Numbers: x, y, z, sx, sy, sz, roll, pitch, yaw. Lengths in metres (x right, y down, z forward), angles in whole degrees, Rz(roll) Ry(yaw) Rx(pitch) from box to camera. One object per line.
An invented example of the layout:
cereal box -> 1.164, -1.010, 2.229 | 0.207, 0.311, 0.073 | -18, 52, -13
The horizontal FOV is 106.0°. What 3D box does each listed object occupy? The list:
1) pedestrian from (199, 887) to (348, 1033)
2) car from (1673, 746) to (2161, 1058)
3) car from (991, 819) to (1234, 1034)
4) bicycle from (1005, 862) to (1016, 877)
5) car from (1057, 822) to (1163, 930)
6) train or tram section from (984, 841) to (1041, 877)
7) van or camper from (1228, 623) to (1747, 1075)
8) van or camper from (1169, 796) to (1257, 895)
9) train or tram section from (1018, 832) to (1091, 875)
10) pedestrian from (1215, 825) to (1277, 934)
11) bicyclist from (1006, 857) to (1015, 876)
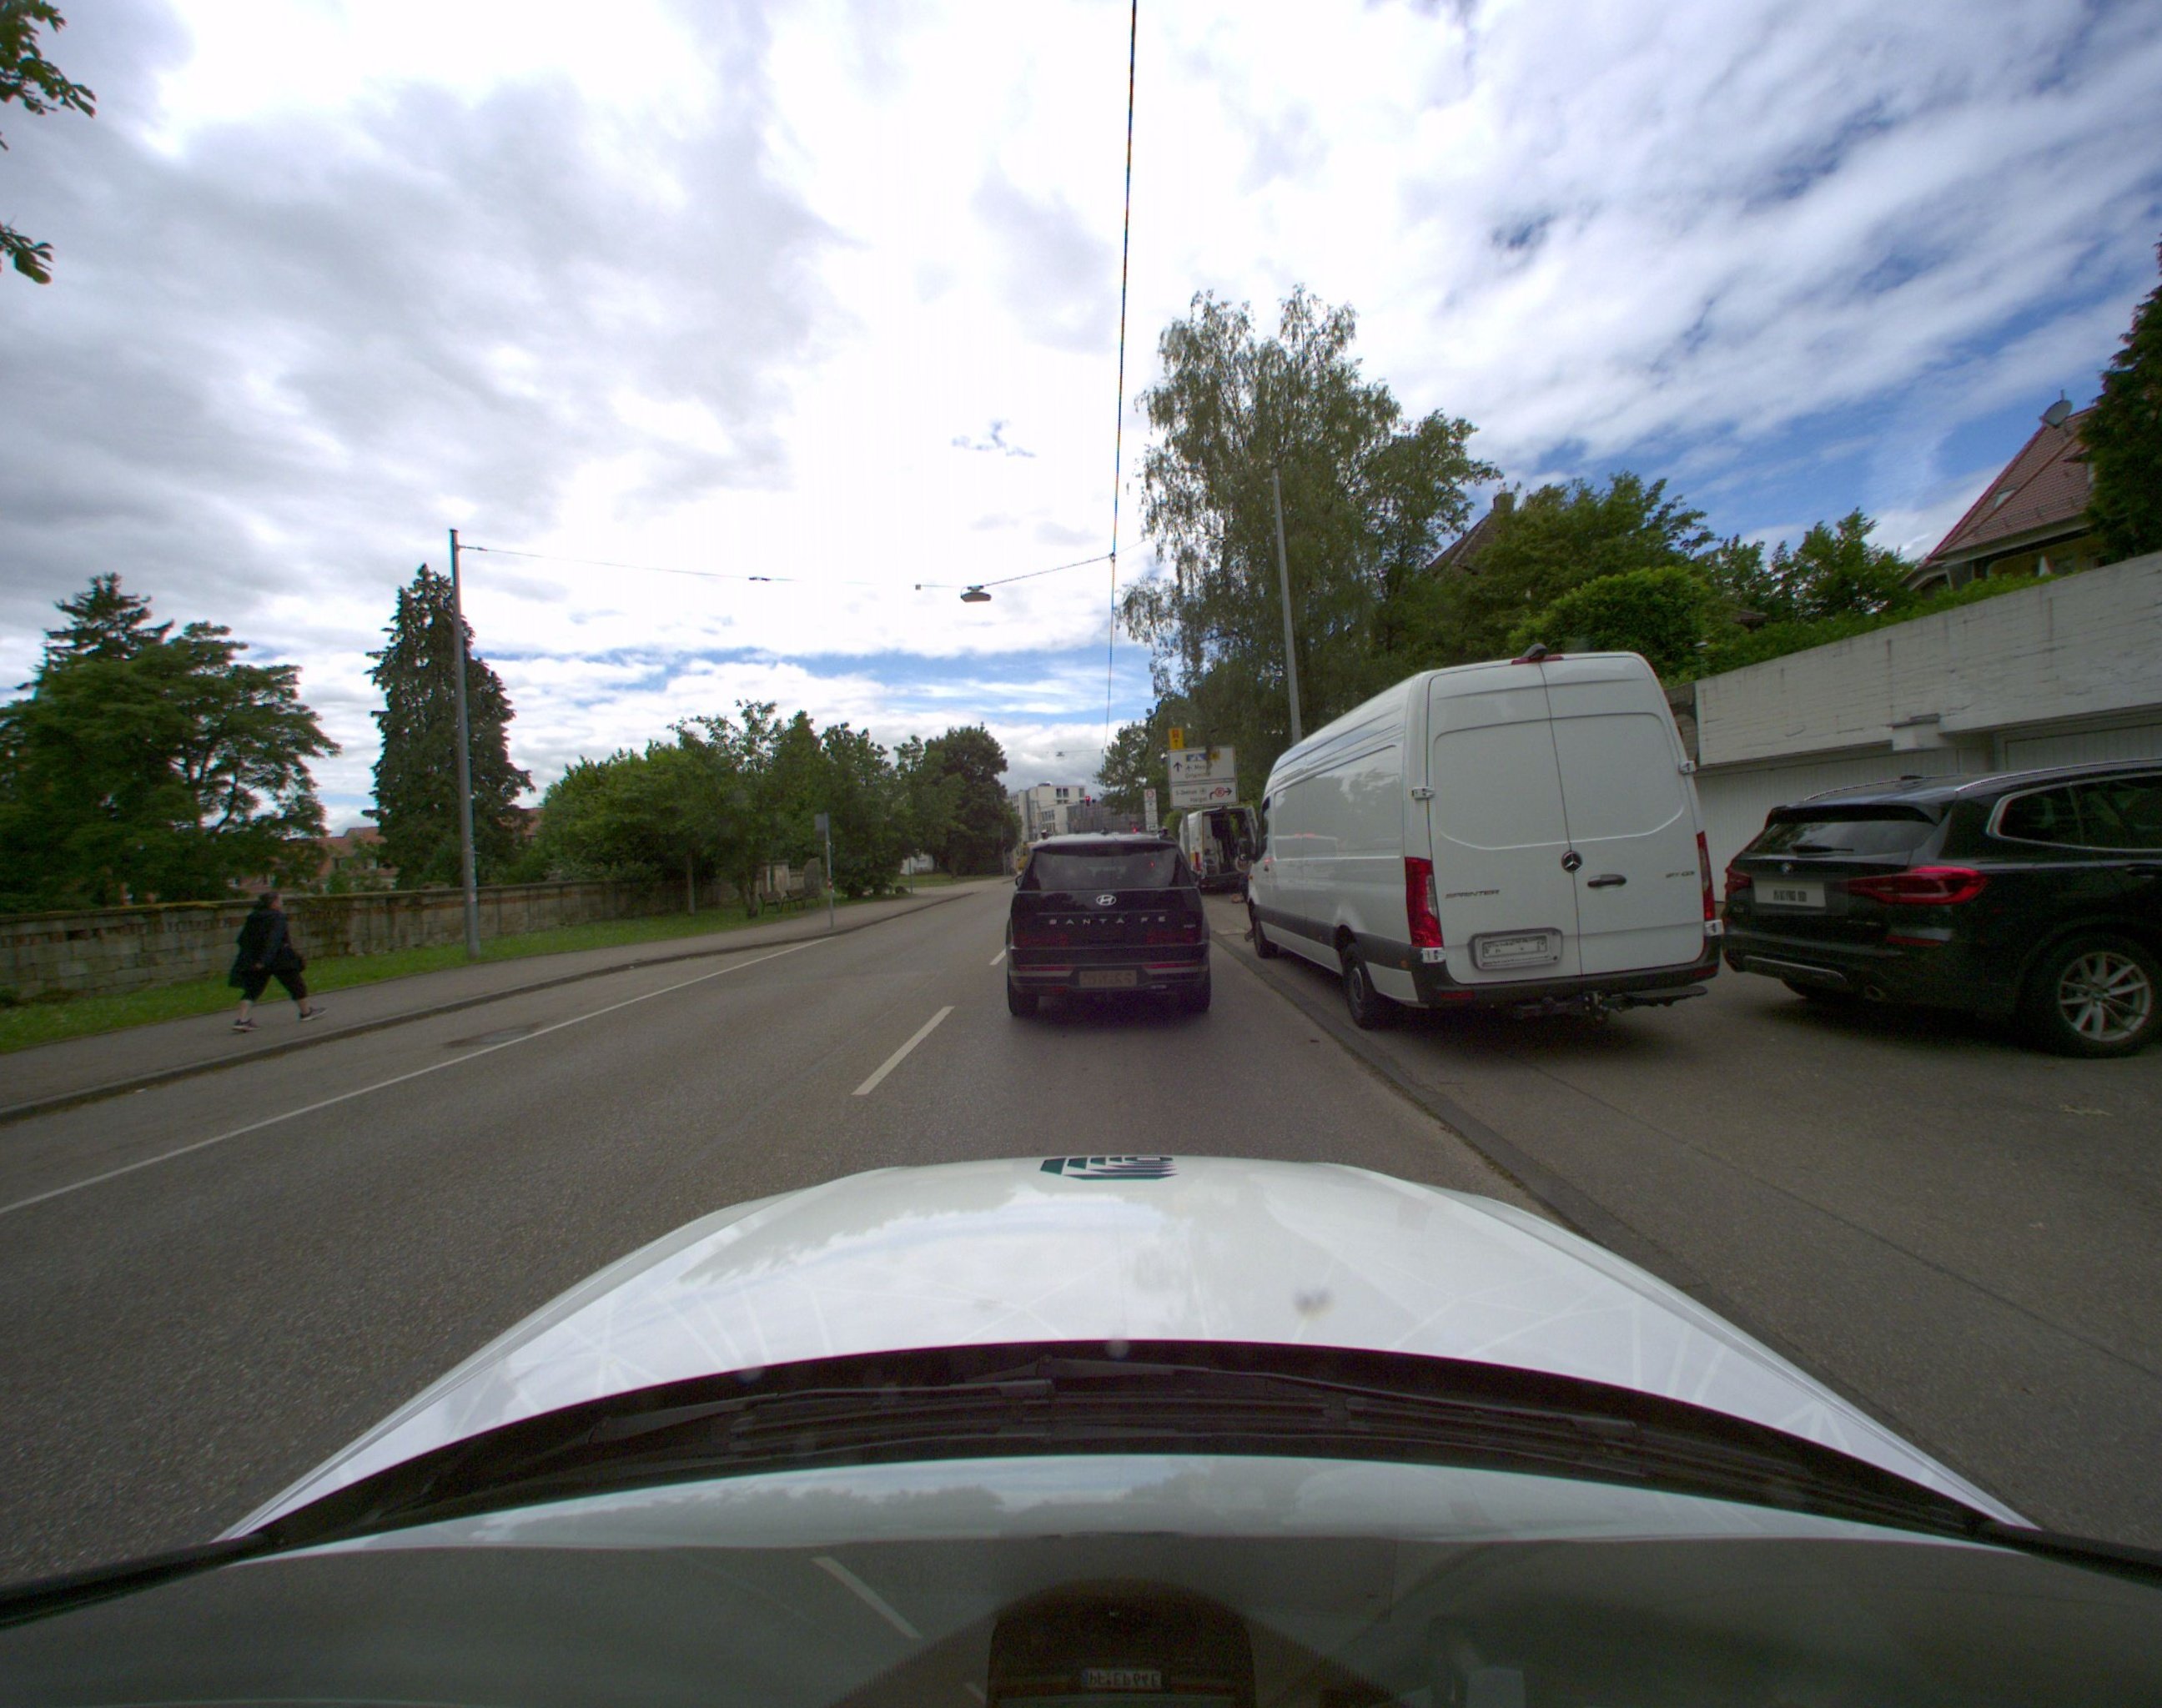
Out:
pedestrian -> -9.515, 1.211, 9.643 | 0.746, 1.578, 0.967 | -2, 0, 1
car -> 6.854, 0.164, 5.414 | 4.376, 1.652, 1.831 | -4, 0, 2
car -> 0.298, 0.601, 8.768 | 1.957, 1.711, 4.001 | -2, 0, 1
bicycle -> -6.119, 1.340, 70.710 | 0.675, 1.279, 2.490 | -2, -2, -12
car -> 0.597, 0.422, 17.633 | 1.957, 2.001, 4.001 | -2, 0, 1
train or tram section -> -10.141, 0.907, 117.483 | 3.204, 4.523, 18.552 | -1, -2, -20
van or camper -> 3.097, -0.038, 8.239 | 1.957, 2.627, 6.359 | -6, 0, 1
van or camper -> 4.240, -0.257, 27.055 | 1.957, 2.797, 5.288 | -5, 0, 1
train or tram section -> -3.654, 0.182, 100.094 | 3.204, 4.523, 18.552 | -1, -2, -20
pedestrian -> 2.775, 0.428, 13.693 | 0.623, 1.743, 0.598 | -6, -1, -40
bicyclist -> -6.135, 1.103, 70.745 | 0.676, 1.659, 0.855 | -1, -2, -12
